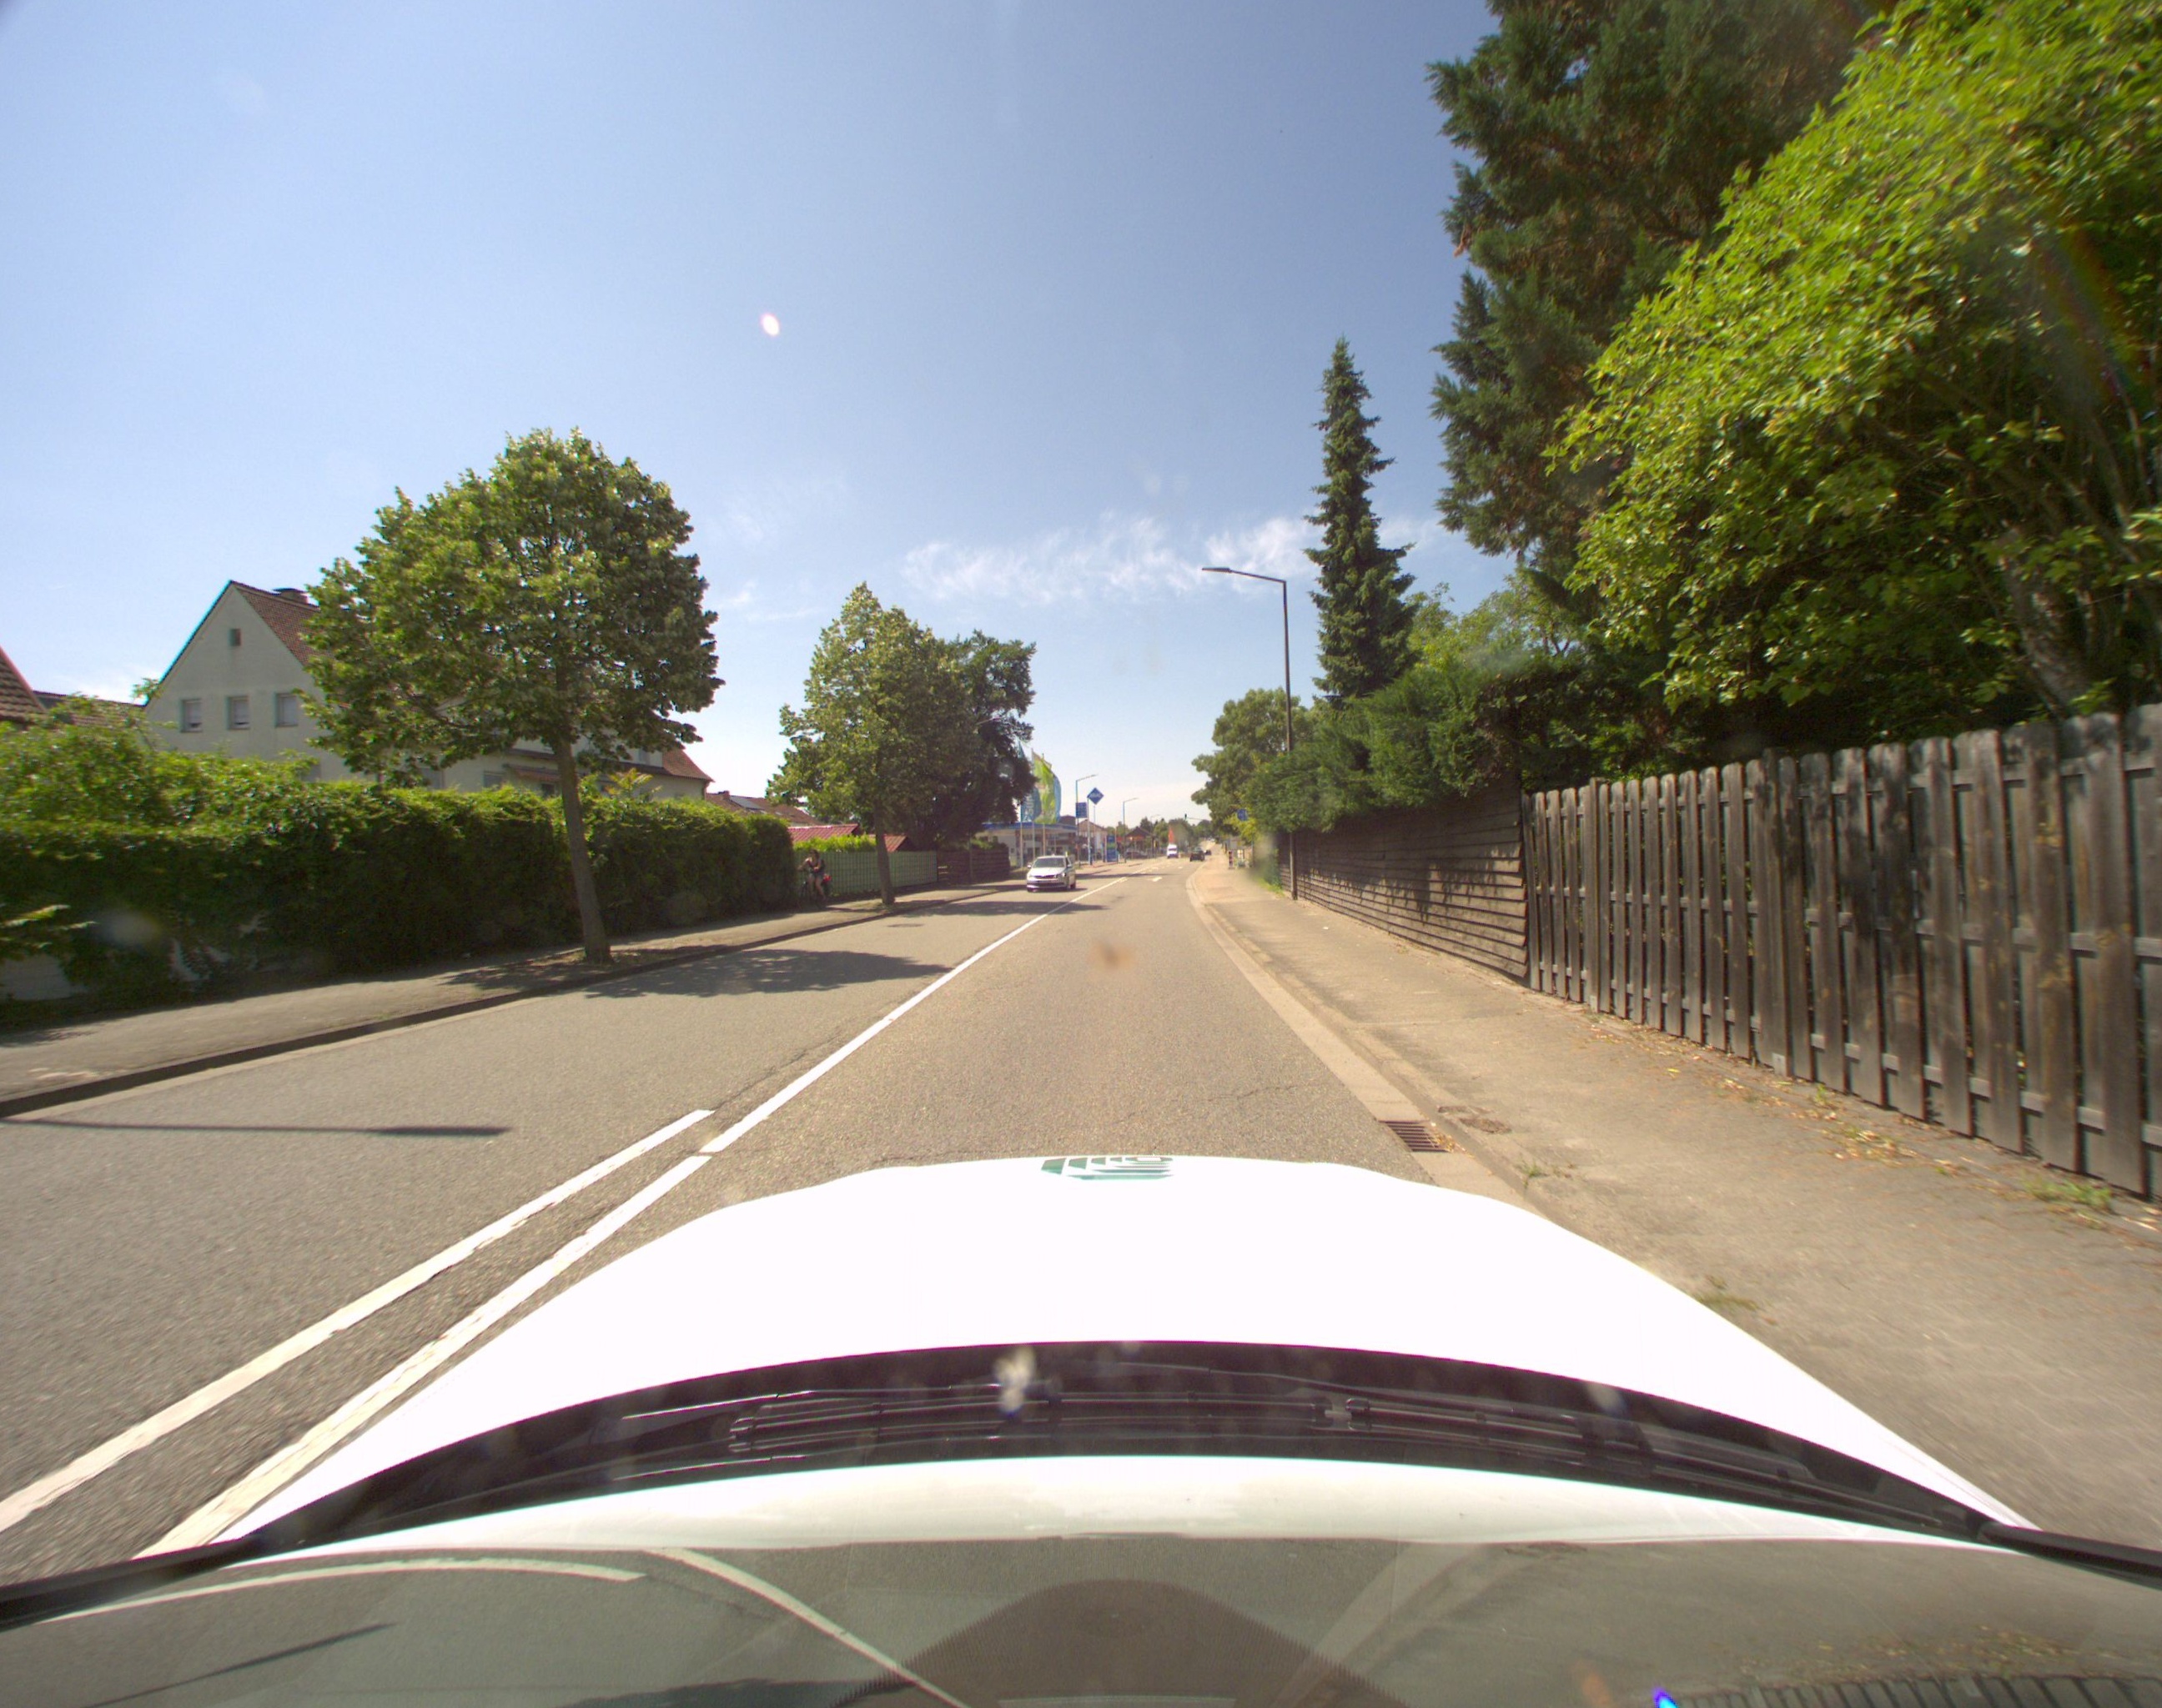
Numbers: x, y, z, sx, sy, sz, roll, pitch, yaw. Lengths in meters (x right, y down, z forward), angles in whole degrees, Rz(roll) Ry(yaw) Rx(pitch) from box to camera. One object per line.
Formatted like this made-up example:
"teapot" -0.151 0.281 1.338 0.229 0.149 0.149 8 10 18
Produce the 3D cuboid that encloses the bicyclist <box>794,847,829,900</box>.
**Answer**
"bicyclist" -7.420 0.520 22.439 0.625 1.408 0.677 -2 0 5

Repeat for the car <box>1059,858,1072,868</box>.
"car" -2.397 1.389 128.595 1.609 1.420 3.717 -4 0 5

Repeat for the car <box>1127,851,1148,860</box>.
"car" 10.997 0.304 157.803 3.967 1.508 1.557 -2 0 6

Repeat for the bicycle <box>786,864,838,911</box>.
"bicycle" -7.402 0.894 22.492 0.629 1.180 1.818 -2 0 5

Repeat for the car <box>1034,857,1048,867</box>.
"car" -6.270 1.325 128.469 1.609 1.420 3.717 -4 0 5

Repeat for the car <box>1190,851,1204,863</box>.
"car" 15.354 0.366 107.634 1.655 1.455 3.481 -2 0 9

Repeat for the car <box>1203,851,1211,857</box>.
"car" 30.571 -0.085 197.458 1.655 1.455 3.481 -2 0 9

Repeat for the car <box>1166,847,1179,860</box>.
"car" 17.918 -0.029 160.127 1.980 2.423 5.966 -1 -1 12

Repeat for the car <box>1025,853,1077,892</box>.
"car" -1.202 0.727 33.819 1.604 1.482 3.713 -2 0 6
